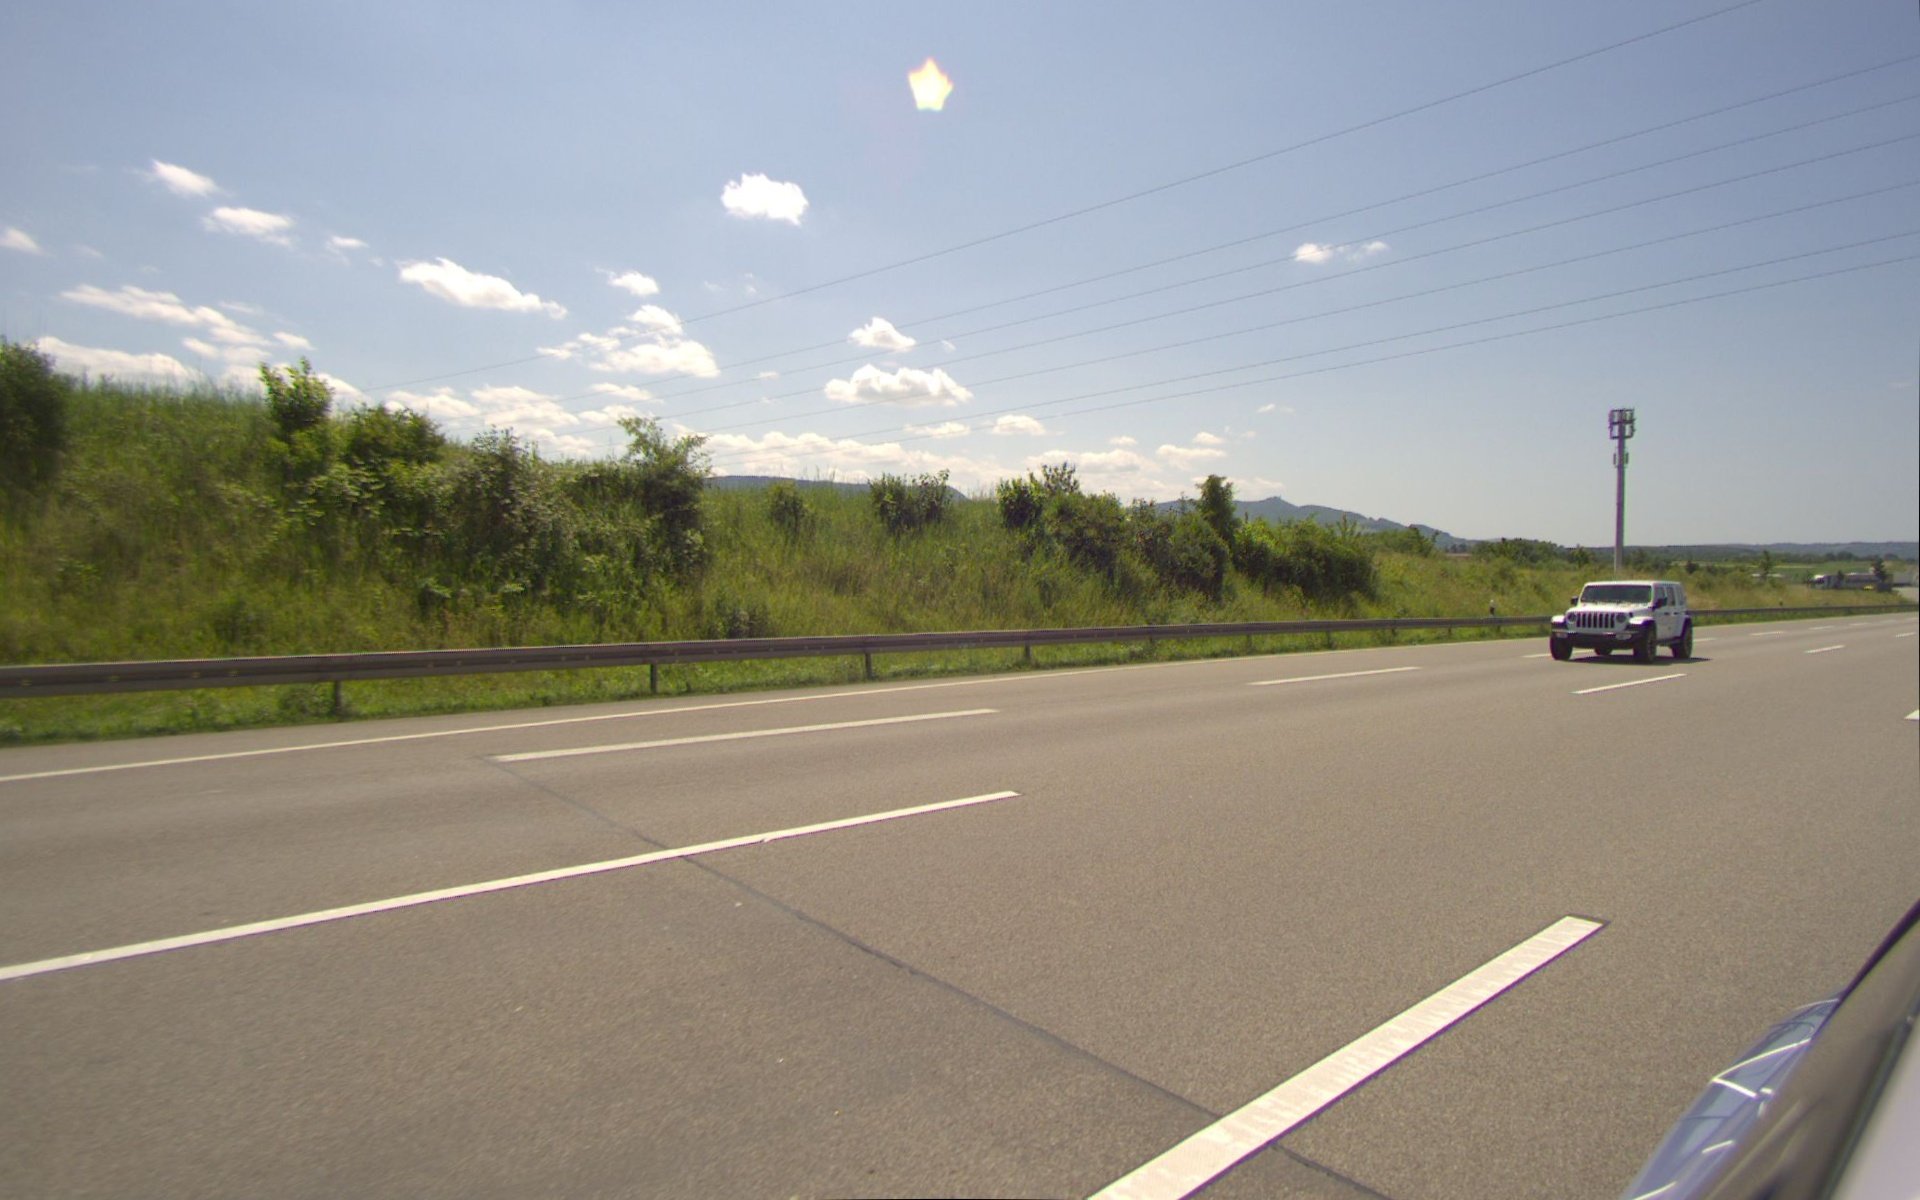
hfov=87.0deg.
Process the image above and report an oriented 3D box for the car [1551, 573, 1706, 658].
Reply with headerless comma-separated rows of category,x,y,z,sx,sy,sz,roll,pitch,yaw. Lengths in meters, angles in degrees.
car,15.711,0.304,23.716,4.177,1.827,2.038,-1,1,-42
